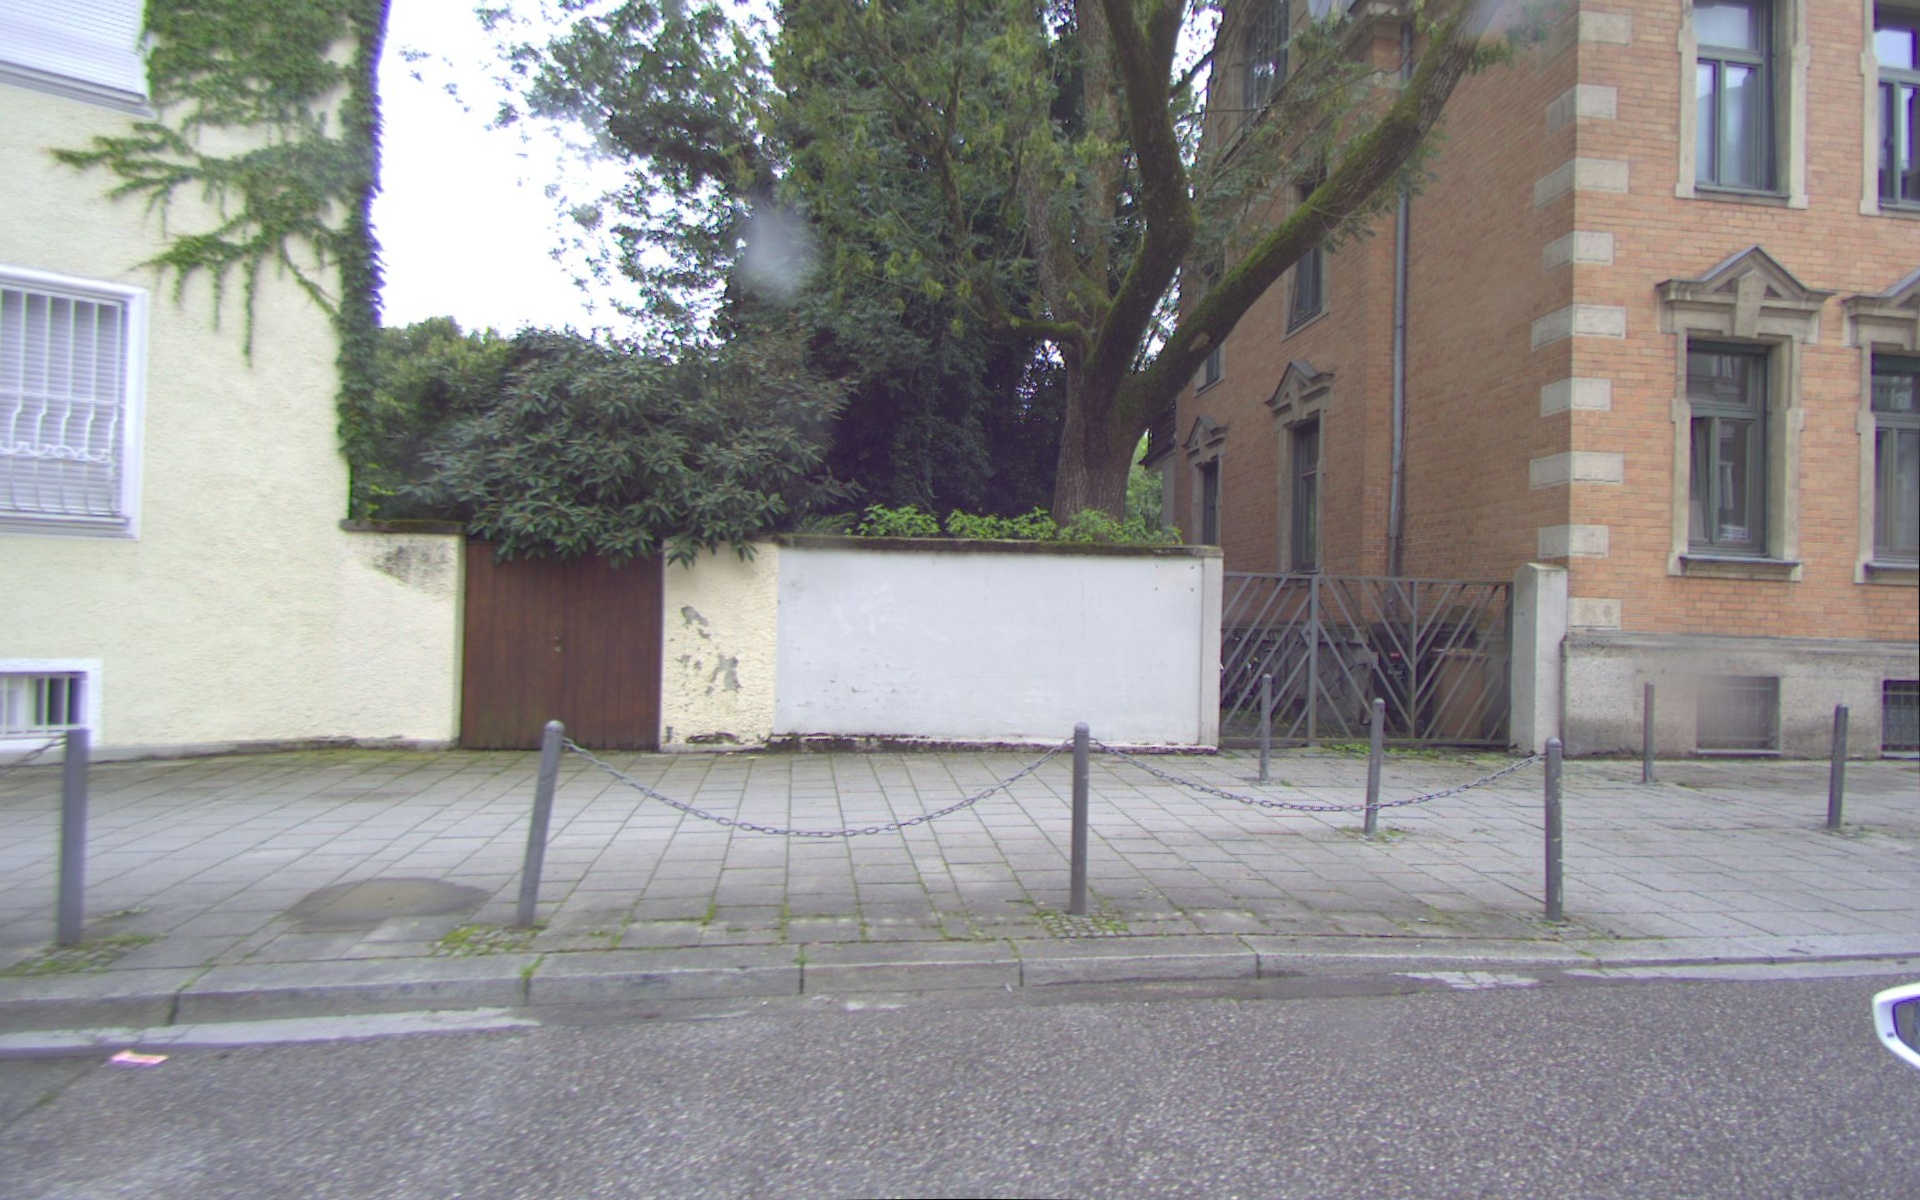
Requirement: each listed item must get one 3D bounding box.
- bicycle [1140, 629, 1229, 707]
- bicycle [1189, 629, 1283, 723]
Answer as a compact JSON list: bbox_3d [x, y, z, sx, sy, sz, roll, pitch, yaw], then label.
[{"bbox_3d":[3.676,1.092,16.663,0.526,1.195,2.297,1,-2,-12],"label":"bicycle"},{"bbox_3d":[3.905,1.054,14.374,0.526,1.235,2.081,1,-2,-7],"label":"bicycle"}]
